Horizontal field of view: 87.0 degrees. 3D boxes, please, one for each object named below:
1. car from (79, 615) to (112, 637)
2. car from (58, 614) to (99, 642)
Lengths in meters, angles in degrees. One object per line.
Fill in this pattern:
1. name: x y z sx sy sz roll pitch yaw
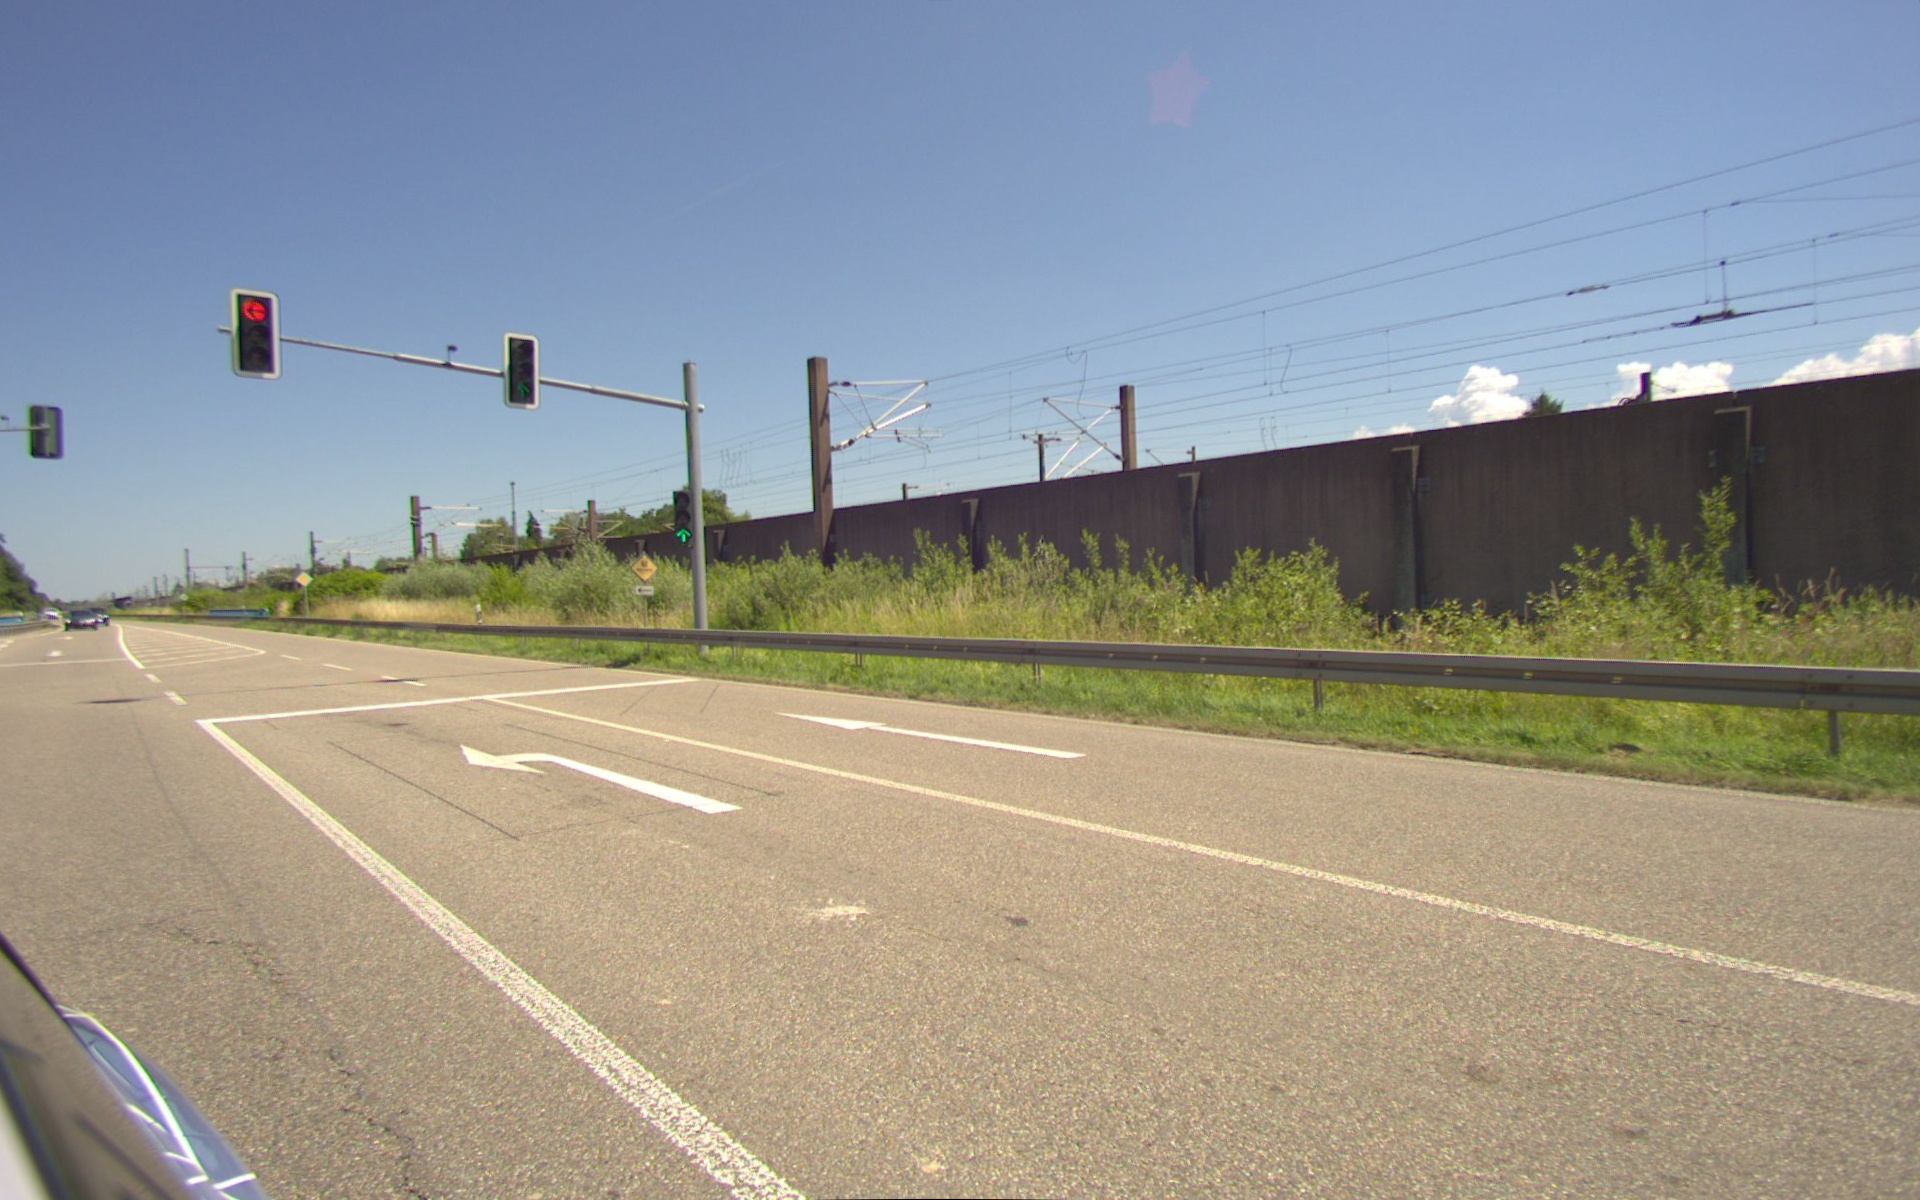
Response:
1. car: -74.089 2.204 86.749 1.968 1.741 4.007 -2 1 -39
2. car: -61.340 1.917 70.485 1.968 1.741 4.007 -2 1 -39
